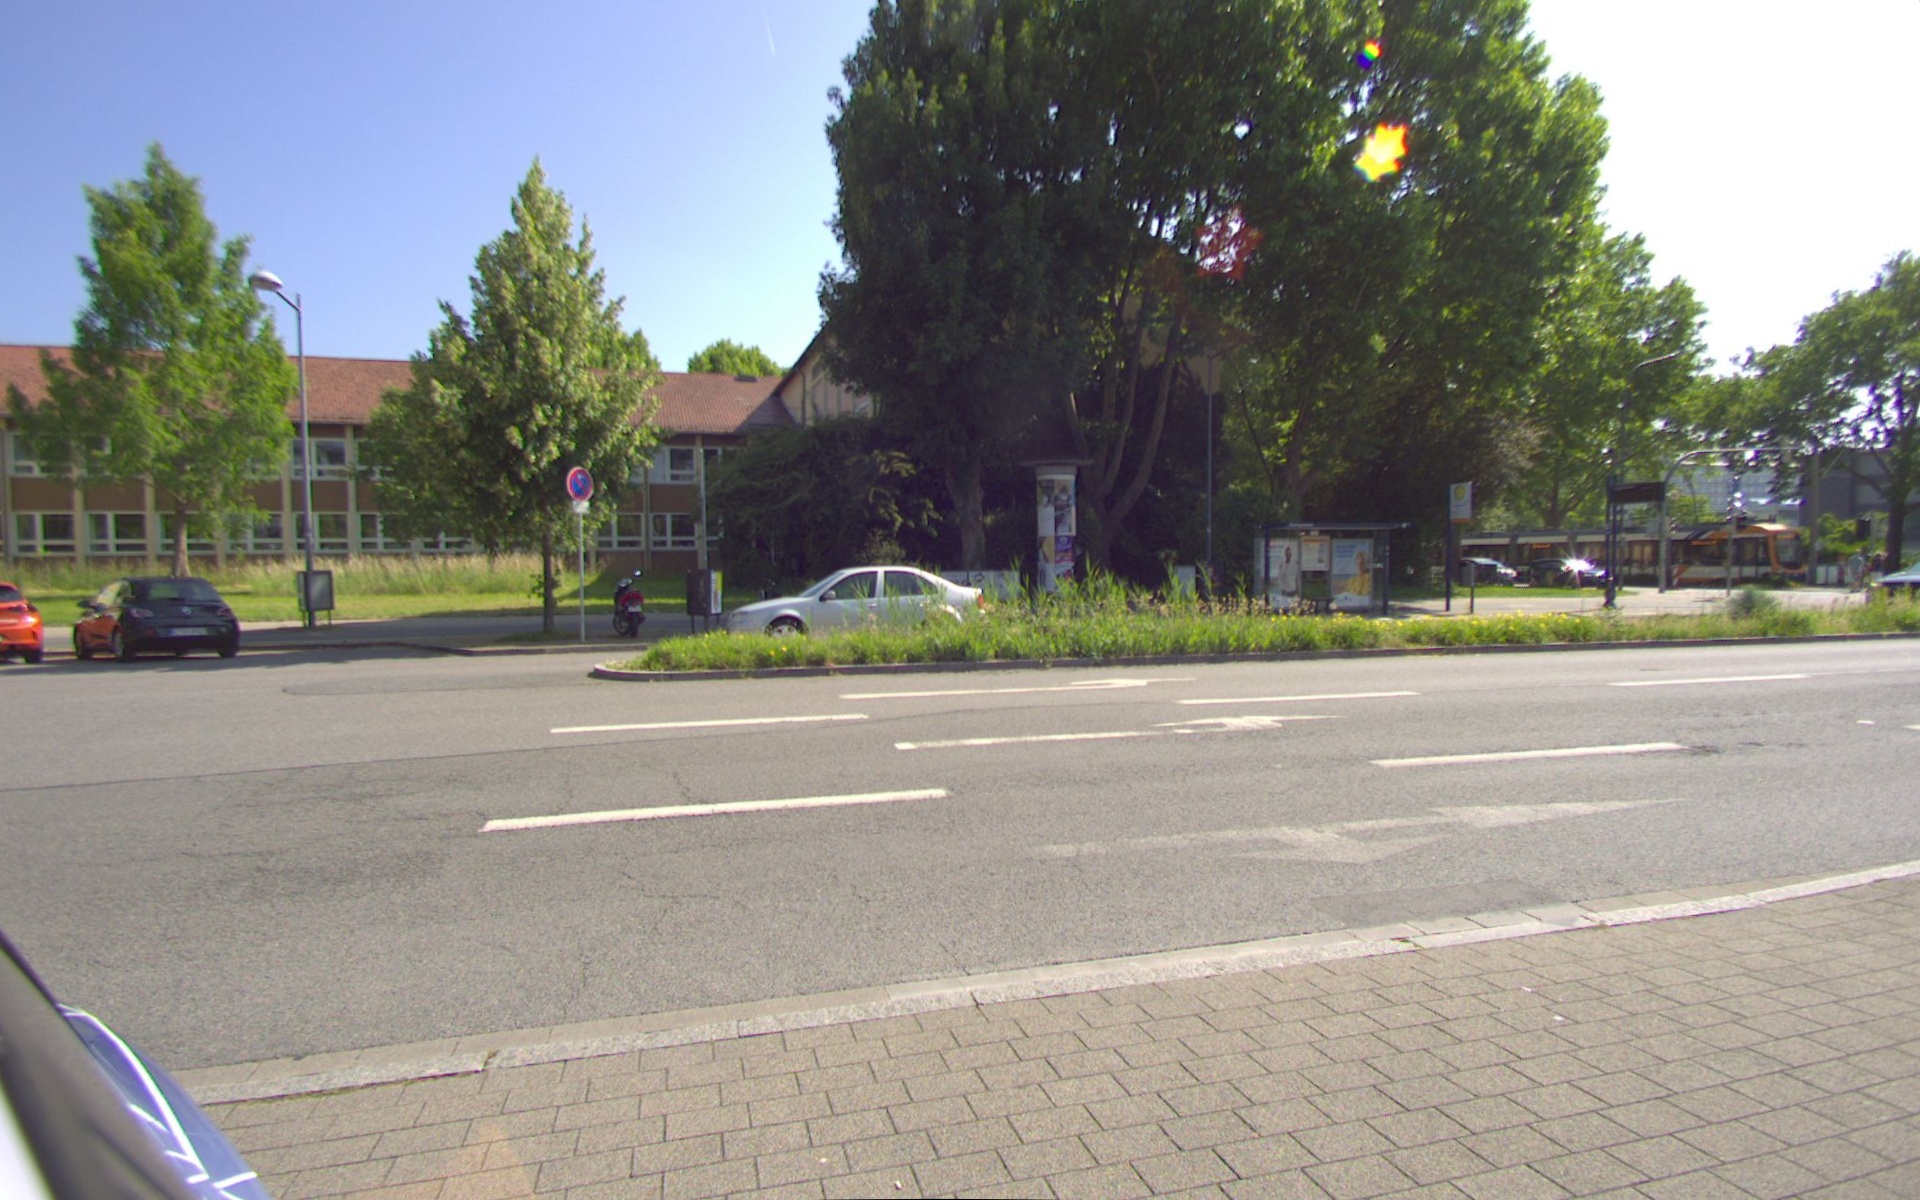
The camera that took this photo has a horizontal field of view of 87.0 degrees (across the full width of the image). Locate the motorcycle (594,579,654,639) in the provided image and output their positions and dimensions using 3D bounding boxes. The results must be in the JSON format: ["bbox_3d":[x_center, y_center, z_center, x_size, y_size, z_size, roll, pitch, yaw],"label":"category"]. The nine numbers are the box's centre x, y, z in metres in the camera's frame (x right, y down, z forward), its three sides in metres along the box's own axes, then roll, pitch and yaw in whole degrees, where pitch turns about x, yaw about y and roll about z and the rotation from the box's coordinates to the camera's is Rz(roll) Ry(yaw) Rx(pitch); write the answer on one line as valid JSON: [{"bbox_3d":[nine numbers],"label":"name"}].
[{"bbox_3d":[-6.680,0.159,20.053,0.548,1.122,1.762,-2,2,-38],"label":"motorcycle"}]

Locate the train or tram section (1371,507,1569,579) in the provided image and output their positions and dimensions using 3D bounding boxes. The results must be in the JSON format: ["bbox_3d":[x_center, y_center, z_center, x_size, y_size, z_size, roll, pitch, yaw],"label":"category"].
[{"bbox_3d":[35.373,-3.809,71.697,2.289,4.523,15.974,-1,2,-16],"label":"train or tram section"}]

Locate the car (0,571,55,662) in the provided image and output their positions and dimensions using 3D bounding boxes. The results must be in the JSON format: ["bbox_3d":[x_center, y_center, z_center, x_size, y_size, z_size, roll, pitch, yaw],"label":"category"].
[{"bbox_3d":[-17.305,0.285,17.507,4.222,1.470,1.857,-1,0,40],"label":"car"}]

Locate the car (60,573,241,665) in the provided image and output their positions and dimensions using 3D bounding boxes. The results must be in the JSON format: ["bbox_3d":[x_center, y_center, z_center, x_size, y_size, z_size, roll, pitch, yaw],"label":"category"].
[{"bbox_3d":[-14.690,0.310,18.293,4.222,1.470,1.719,-1,1,40],"label":"car"}]

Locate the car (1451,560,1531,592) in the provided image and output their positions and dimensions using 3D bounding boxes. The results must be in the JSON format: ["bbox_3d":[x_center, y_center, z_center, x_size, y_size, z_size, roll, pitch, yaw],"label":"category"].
[{"bbox_3d":[30.206,-1.366,57.701,1.838,1.702,4.011,-1,0,-14],"label":"car"}]

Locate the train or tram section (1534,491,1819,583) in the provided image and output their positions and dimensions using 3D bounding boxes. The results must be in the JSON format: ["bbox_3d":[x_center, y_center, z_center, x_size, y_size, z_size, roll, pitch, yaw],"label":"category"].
[{"bbox_3d":[39.472,-3.296,57.155,2.289,4.523,14.990,-1,2,-16],"label":"train or tram section"}]

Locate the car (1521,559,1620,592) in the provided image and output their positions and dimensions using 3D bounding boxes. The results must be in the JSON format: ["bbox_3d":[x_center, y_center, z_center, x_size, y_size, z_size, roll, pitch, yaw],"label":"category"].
[{"bbox_3d":[31.071,-1.218,51.619,1.837,1.524,4.013,-1,0,-21],"label":"car"}]

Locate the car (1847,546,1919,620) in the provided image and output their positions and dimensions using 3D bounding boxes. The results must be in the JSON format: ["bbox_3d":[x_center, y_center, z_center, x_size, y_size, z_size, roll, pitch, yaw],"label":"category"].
[{"bbox_3d":[23.764,-0.435,23.477,5.563,1.623,2.006,-1,0,-15],"label":"car"}]

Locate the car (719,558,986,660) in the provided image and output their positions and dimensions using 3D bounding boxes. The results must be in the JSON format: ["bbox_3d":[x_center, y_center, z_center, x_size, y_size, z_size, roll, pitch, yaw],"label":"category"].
[{"bbox_3d":[-1.795,0.082,16.619,4.089,1.495,1.745,-1,2,-16],"label":"car"}]
